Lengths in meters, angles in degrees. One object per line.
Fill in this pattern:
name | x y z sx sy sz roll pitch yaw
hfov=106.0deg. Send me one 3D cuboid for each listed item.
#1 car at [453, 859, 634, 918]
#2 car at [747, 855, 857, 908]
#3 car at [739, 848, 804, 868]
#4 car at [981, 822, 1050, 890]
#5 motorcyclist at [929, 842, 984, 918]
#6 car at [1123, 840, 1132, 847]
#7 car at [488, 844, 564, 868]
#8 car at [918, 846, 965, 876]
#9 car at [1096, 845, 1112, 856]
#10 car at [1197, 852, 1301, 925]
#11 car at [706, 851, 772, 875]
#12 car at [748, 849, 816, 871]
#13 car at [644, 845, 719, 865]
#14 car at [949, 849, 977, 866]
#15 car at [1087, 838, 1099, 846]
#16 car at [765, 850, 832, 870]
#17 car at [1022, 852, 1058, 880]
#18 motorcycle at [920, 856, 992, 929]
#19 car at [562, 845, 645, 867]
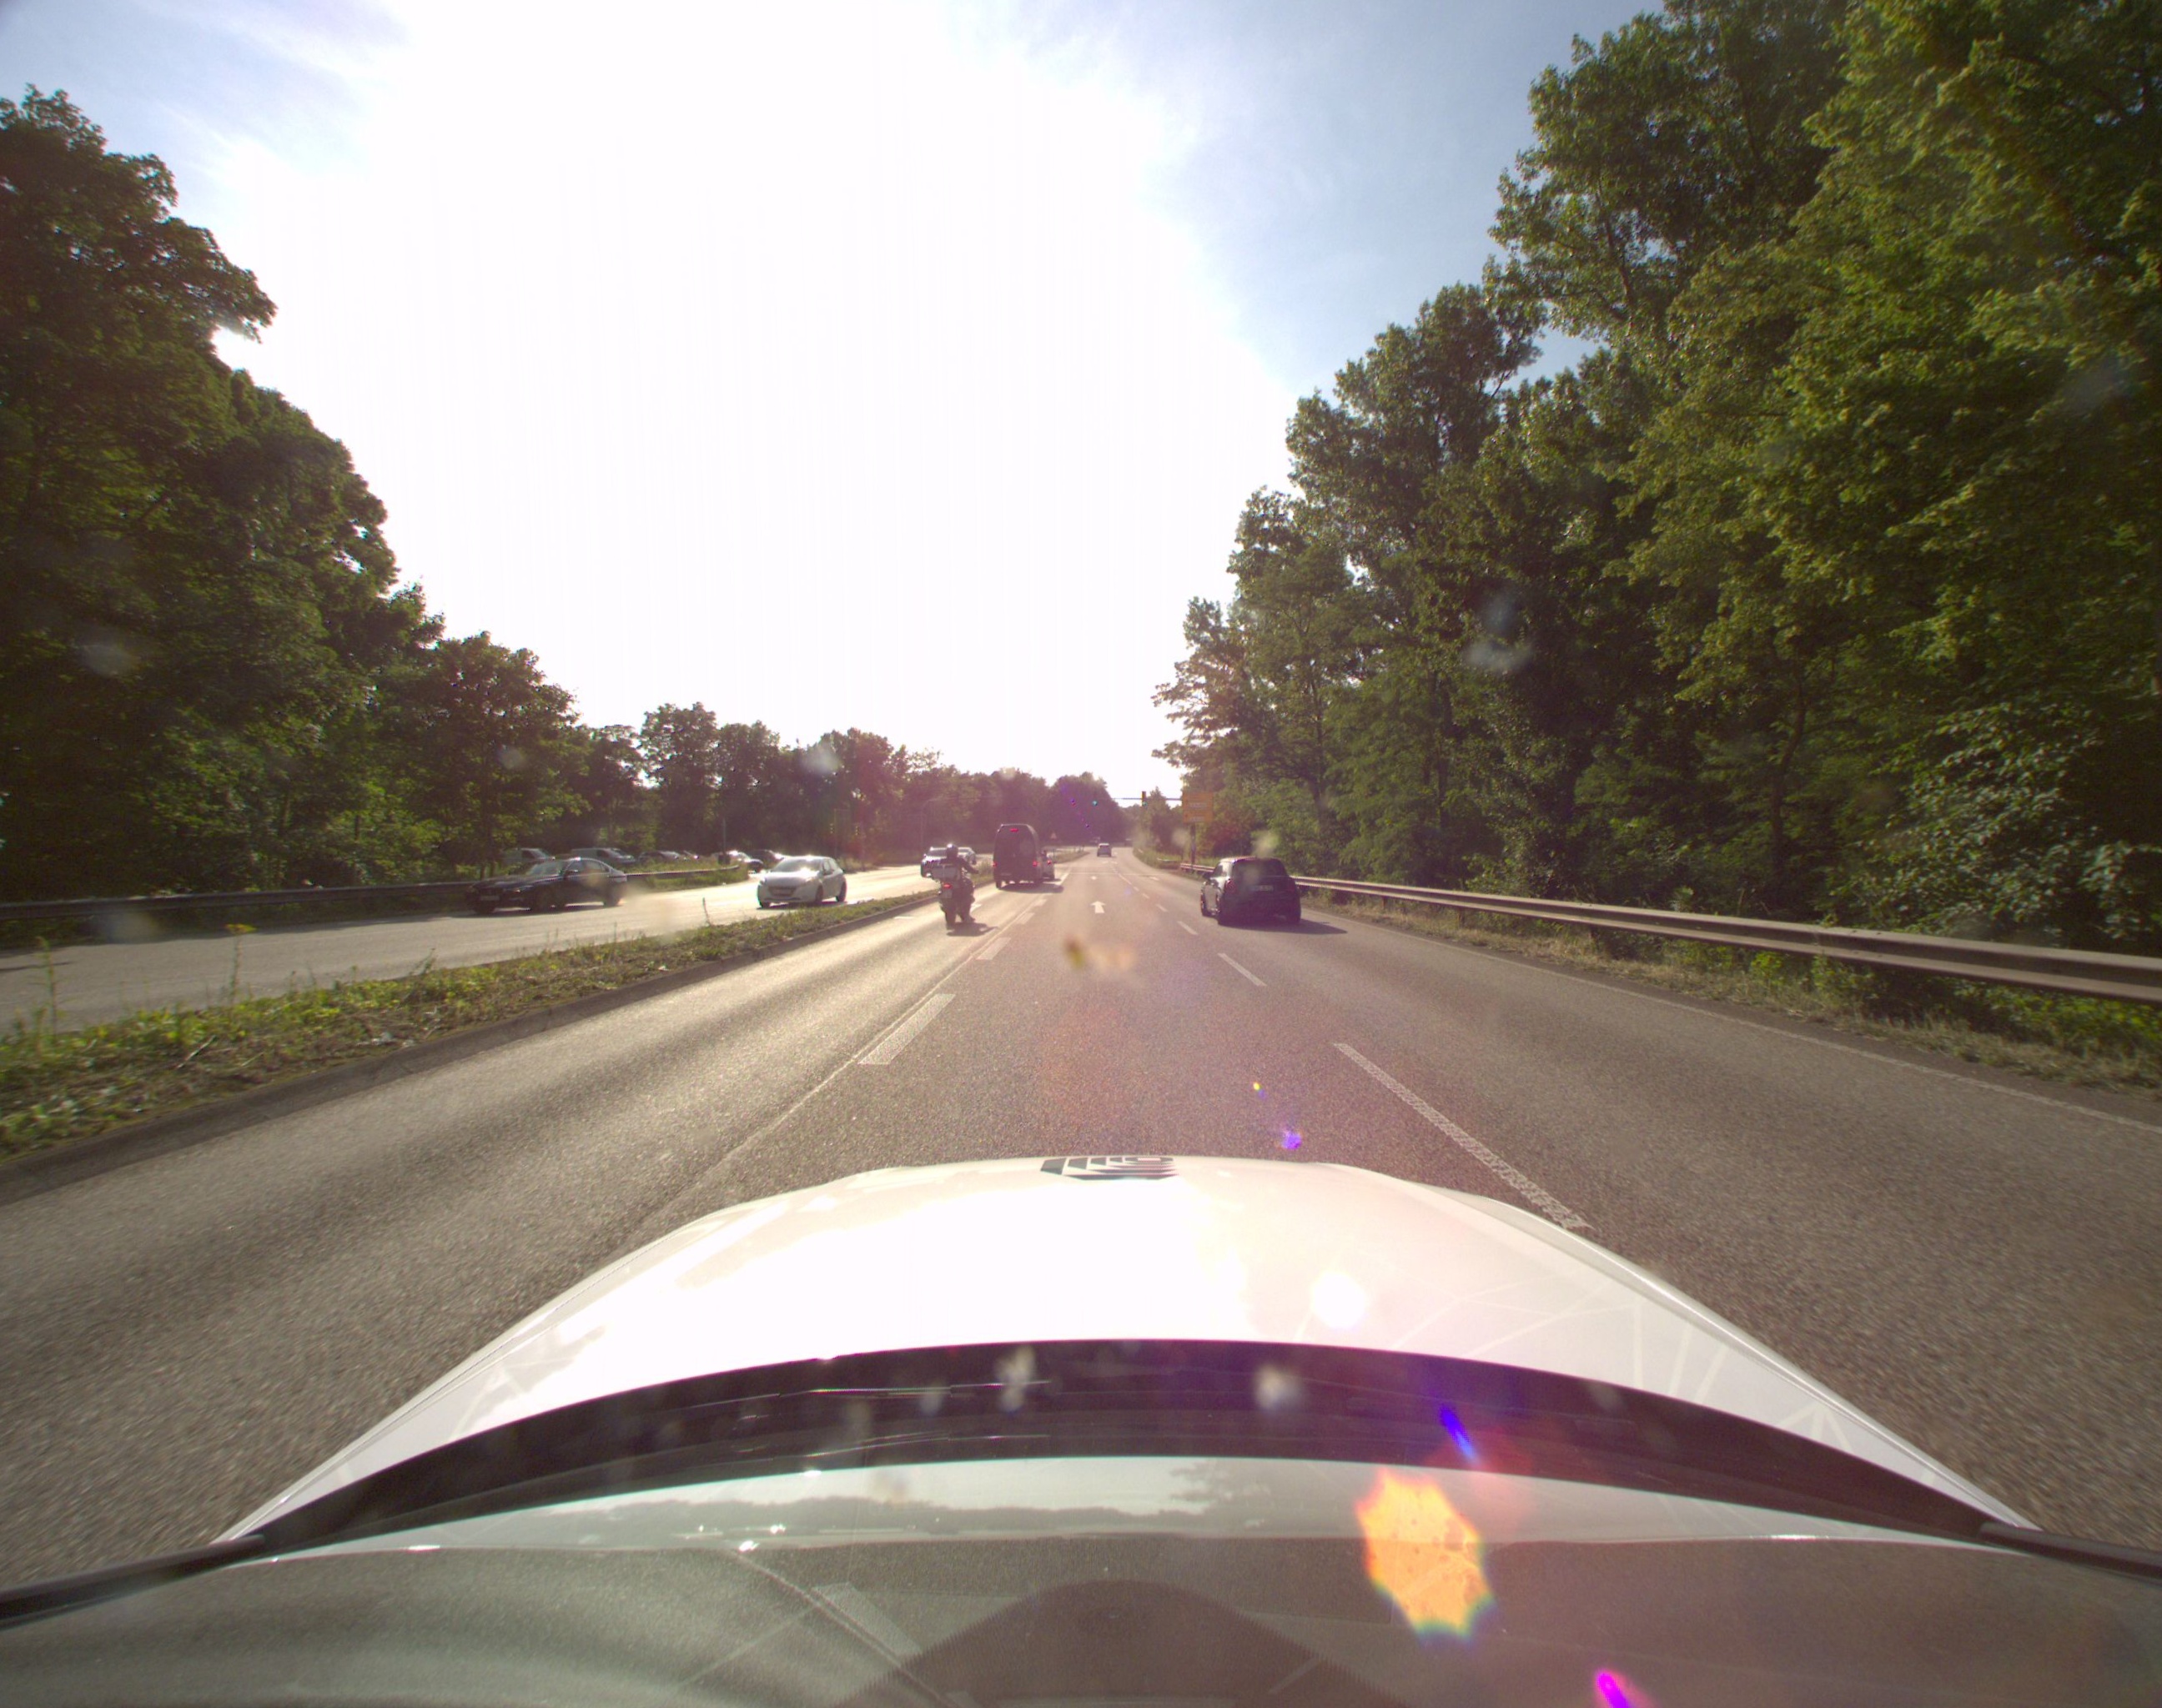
car | -14.640 0.860 22.594 1.782 1.406 4.755 0 0 1
car | -8.337 0.772 24.760 1.782 1.411 4.228 1 0 1
car | -24.641 0.330 64.935 4.394 1.490 1.999 1 0 -1
car | -2.973 0.062 38.681 2.200 2.888 7.018 -1 0 4
motorcyclist | -2.766 0.552 18.287 0.879 1.616 1.292 1 0 6
car | 10.396 -2.400 183.790 1.739 1.537 3.925 1 0 0
car | -43.449 0.118 63.806 4.610 1.727 2.198 2 0 9
car | -8.820 0.424 51.925 2.068 1.763 4.758 -2 0 1
car | 3.055 -0.431 107.296 1.753 1.380 3.977 1 0 5
car | 3.693 0.702 18.533 1.812 1.467 3.877 0 0 4
car | -24.101 0.625 57.373 4.504 1.490 2.012 2 0 32
car | -22.646 0.454 61.808 4.380 1.490 2.006 2 0 10
car | -32.333 0.080 65.979 4.944 1.490 2.213 2 0 8
car | -11.090 0.344 76.812 1.877 1.503 4.265 -2 0 0
car | 2.868 -2.898 192.118 1.837 1.786 4.687 2 0 14
car | -23.476 0.476 67.821 4.695 1.490 2.168 1 0 -1
car | -2.276 0.655 46.043 1.639 1.489 4.105 -1 0 2
motorcycle | -2.788 0.816 18.569 0.904 1.453 2.693 -3 0 6
car | -36.639 0.161 62.556 5.024 1.490 2.453 2 0 9
